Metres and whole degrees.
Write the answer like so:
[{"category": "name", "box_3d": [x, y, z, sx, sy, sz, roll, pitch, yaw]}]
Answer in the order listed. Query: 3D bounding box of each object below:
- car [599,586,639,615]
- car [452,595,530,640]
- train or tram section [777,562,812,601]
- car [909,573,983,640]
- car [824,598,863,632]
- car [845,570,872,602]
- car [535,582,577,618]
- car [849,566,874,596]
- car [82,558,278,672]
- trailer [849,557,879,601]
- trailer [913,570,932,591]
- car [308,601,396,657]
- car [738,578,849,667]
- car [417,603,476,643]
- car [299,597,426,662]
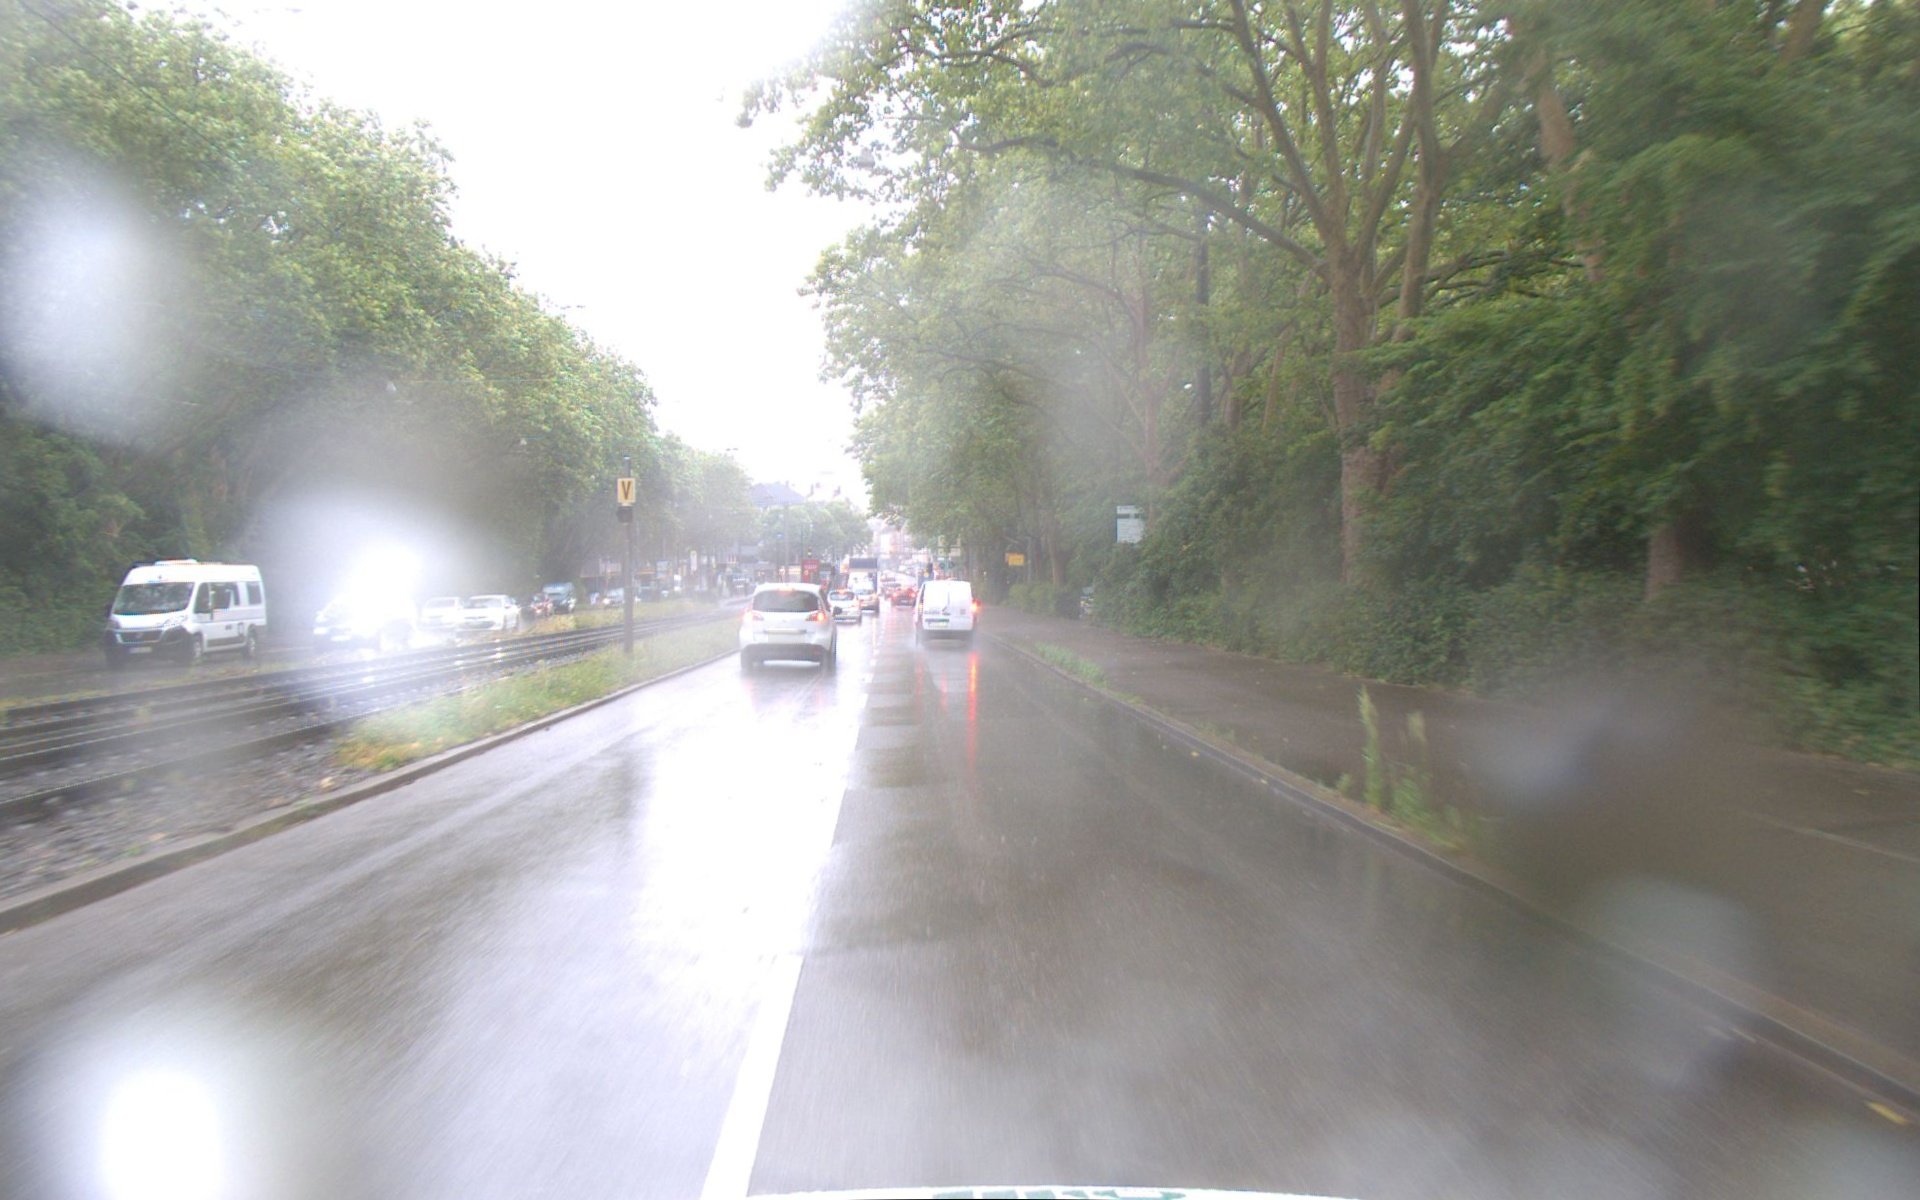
[{"category": "car", "box_3d": [-22.149, 0.016, 107.560, 1.992, 1.781, 4.255, -2, 0, -5]}, {"category": "car", "box_3d": [-17.886, 0.635, 63.290, 1.940, 1.594, 4.764, -2, 0, -5]}, {"category": "train or tram section", "box_3d": [-15.010, -1.759, 150.601, 2.903, 3.342, 8.354, -2, 1, -4]}, {"category": "car", "box_3d": [-0.428, 0.198, 46.785, 1.920, 1.808, 3.567, 0, 0, -3]}, {"category": "car", "box_3d": [-5.253, 0.677, 74.681, 1.691, 1.505, 3.803, 0, 0, -3]}, {"category": "car", "box_3d": [-8.702, -1.171, 141.911, 2.283, 2.602, 6.110, 0, 0, -3]}, {"category": "car", "box_3d": [-25.492, -0.019, 104.443, 1.993, 2.129, 4.796, -2, 0, -7]}, {"category": "car", "box_3d": [-7.801, -1.497, 131.535, 1.954, 2.302, 5.285, 0, 0, -3]}, {"category": "car", "box_3d": [-19.662, 0.336, 42.120, 2.343, 2.585, 6.559, -2, 0, -5]}, {"category": "trailer", "box_3d": [-8.864, -1.921, 152.353, 2.539, 3.968, 7.629, 0, 1, -4]}, {"category": "trailer", "box_3d": [-4.286, -2.258, 190.034, 1.954, 2.357, 4.664, 0, 0, -4]}, {"category": "car", "box_3d": [-20.973, 0.963, 57.210, 1.716, 1.758, 4.526, -2, 0, -5]}, {"category": "car", "box_3d": [-3.268, 0.423, 33.169, 1.827, 1.652, 4.262, 1, 0, -1]}, {"category": "car", "box_3d": [-22.927, 1.012, 73.996, 1.727, 1.677, 3.809, -2, 0, -5]}, {"category": "car", "box_3d": [-16.083, 0.759, 44.794, 1.993, 1.579, 4.563, -2, 0, -4]}]
